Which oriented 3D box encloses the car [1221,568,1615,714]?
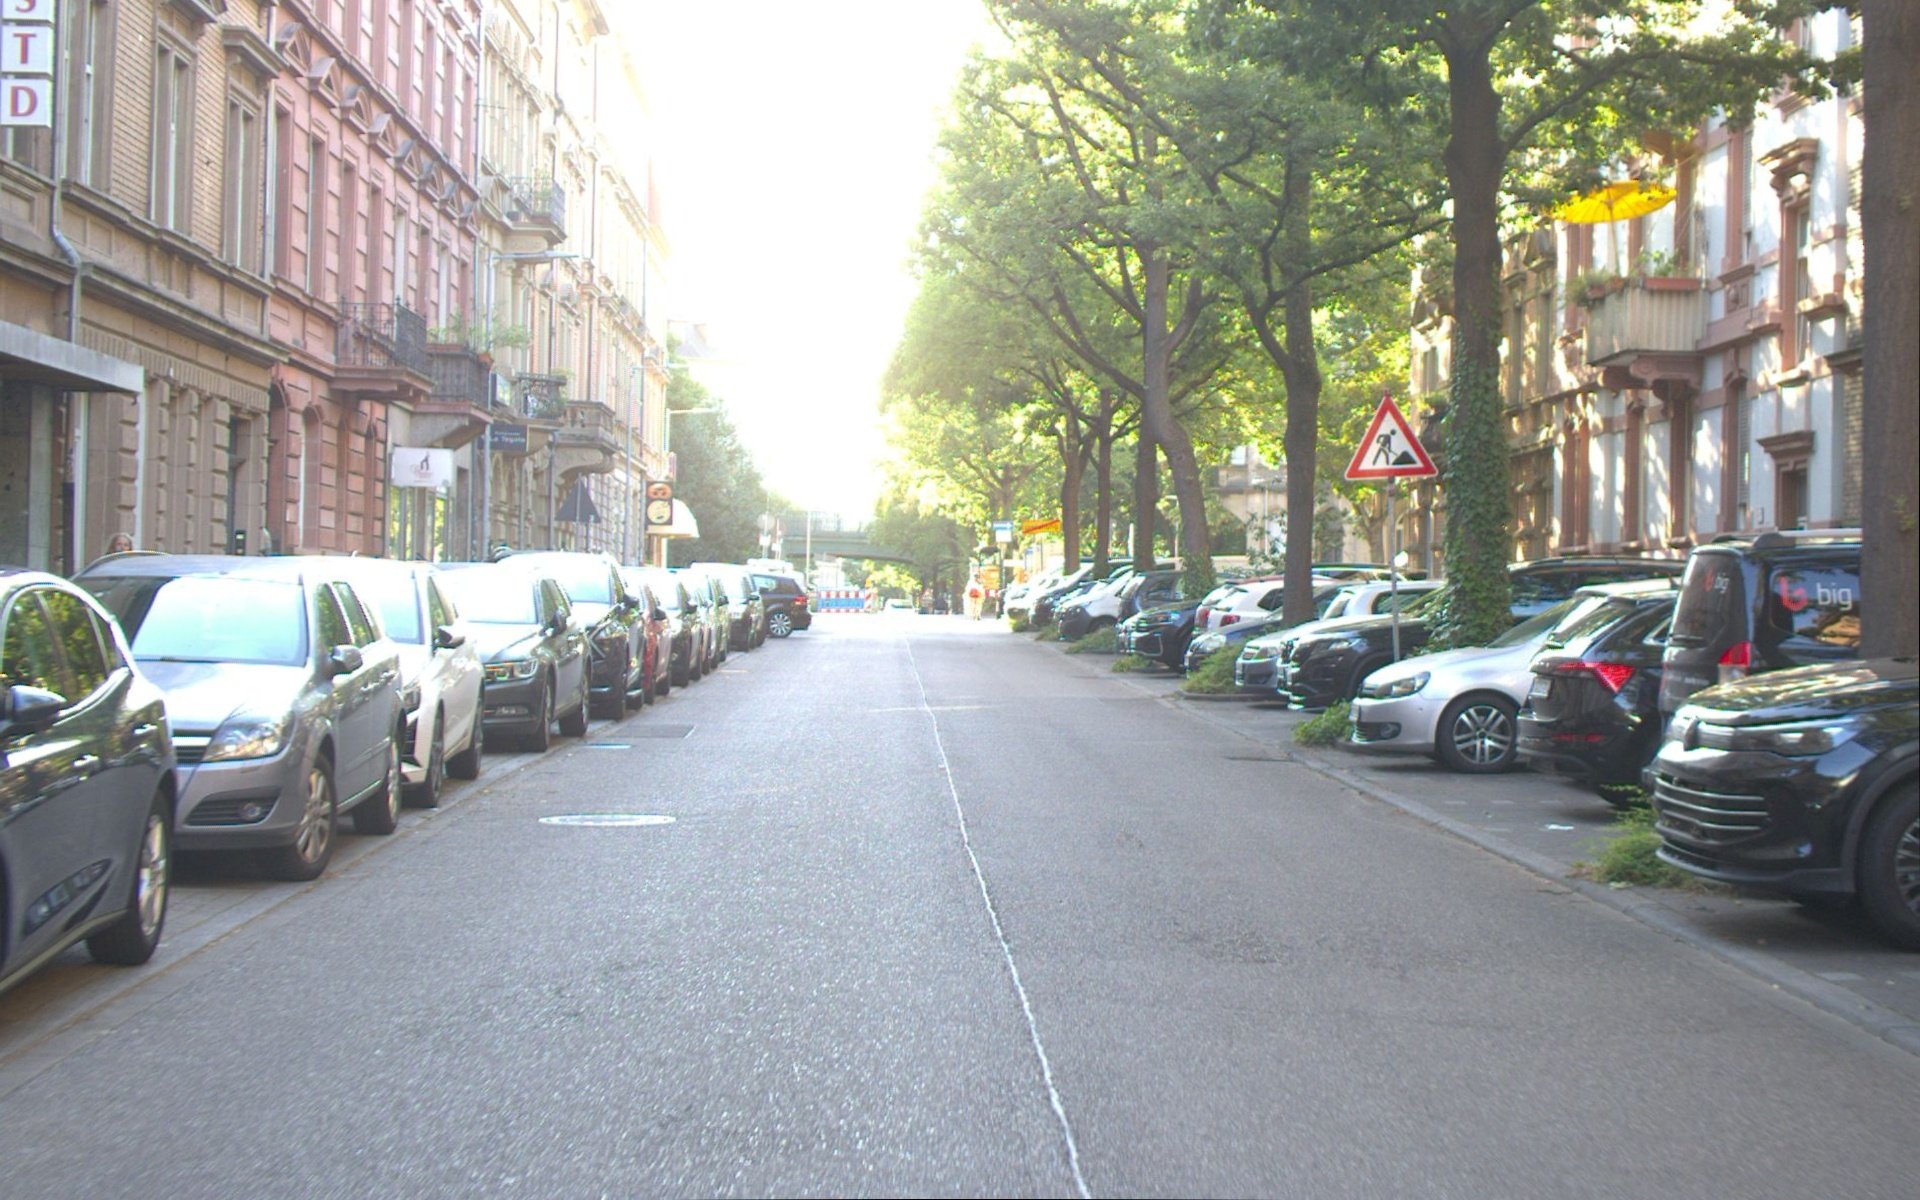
[{"bbox_3d":[5.264,0.457,39.846,4.222,1.531,1.801,2,1,-4],"label":"car"}]

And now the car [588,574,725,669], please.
[{"bbox_3d":[-4.450,0.292,50.909,1.705,1.318,4.101,1,0,-1],"label":"car"}]

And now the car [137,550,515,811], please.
[{"bbox_3d":[-3.917,0.443,21.851,1.756,1.467,4.088,1,1,-2],"label":"car"}]

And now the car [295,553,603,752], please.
[{"bbox_3d":[-4.109,0.378,28.342,1.862,1.467,4.489,1,1,0],"label":"car"}]

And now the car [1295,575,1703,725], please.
[{"bbox_3d":[5.773,0.523,37.186,4.100,1.464,1.801,2,1,0],"label":"car"}]

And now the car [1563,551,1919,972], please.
[{"bbox_3d":[5.283,0.581,14.734,4.919,1.627,2.079,-1,1,-4],"label":"car"}]

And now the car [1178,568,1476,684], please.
[{"bbox_3d":[5.255,0.362,49.536,3.986,1.585,1.783,1,0,-4],"label":"car"}]

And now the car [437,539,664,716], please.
[{"bbox_3d":[-4.091,0.241,34.946,1.821,1.595,4.314,3,0,-1],"label":"car"}]

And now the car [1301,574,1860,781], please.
[{"bbox_3d":[4.745,0.579,26.667,3.987,1.451,1.687,1,0,0],"label":"car"}]

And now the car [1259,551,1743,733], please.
[{"bbox_3d":[5.366,0.428,34.496,4.475,1.650,1.891,2,-1,-2],"label":"car"}]

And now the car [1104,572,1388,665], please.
[{"bbox_3d":[4.950,0.316,59.937,4.658,1.498,1.932,1,0,-4],"label":"car"}]

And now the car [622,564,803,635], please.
[{"bbox_3d":[-5.636,-0.018,78.118,3.986,1.524,1.826,1,0,-7],"label":"car"}]

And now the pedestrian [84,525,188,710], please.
[{"bbox_3d":[-7.413,0.152,30.966,0.695,1.625,1.018,1,0,-2],"label":"pedestrian"}]

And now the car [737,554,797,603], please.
[{"bbox_3d":[-5.959,-0.656,106.358,1.764,1.432,4.301,2,0,-3],"label":"car"}]

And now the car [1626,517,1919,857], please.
[{"bbox_3d":[5.995,0.489,19.254,4.125,1.782,1.945,1,0,1],"label":"car"}]

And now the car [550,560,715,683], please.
[{"bbox_3d":[-4.333,0.251,46.034,1.821,1.472,4.424,3,0,-1],"label":"car"}]

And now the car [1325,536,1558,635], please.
[{"bbox_3d":[13.256,-0.405,94.870,5.893,2.529,2.380,2,0,-7],"label":"car"}]

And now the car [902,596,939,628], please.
[{"bbox_3d":[-1.977,0.608,171.606,1.749,1.504,4.000,1,0,-1],"label":"car"}]

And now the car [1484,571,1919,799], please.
[{"bbox_3d":[5.891,0.594,24.397,3.986,1.490,1.687,1,0,-4],"label":"car"}]

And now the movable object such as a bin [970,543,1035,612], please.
[{"bbox_3d":[1.752,-0.900,139.656,1.994,2.690,3.108,2,0,12],"label":"movable object such as a bin"}]

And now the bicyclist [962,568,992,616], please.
[{"bbox_3d":[0.501,-0.228,102.000,0.803,1.379,0.985,3,0,-2],"label":"bicyclist"}]

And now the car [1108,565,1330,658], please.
[{"bbox_3d":[4.841,0.201,64.606,3.883,1.643,1.725,1,0,-6],"label":"car"}]

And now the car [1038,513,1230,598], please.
[{"bbox_3d":[4.369,-1.110,86.719,4.614,2.007,2.000,1,0,-3],"label":"car"}]

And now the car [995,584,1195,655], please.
[{"bbox_3d":[2.842,0.394,72.844,3.986,1.470,1.782,0,0,-8],"label":"car"}]

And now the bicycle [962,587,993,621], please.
[{"bbox_3d":[0.506,0.118,102.025,0.803,0.965,2.108,3,0,-2],"label":"bicycle"}]

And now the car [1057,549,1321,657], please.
[{"bbox_3d":[4.570,0.074,69.148,5.091,1.933,2.158,1,-3,-1],"label":"car"}]

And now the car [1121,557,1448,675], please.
[{"bbox_3d":[4.852,0.225,51.834,4.644,1.697,1.882,0,1,-4],"label":"car"}]

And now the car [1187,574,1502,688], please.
[{"bbox_3d":[5.211,0.416,46.939,3.986,1.457,1.783,1,0,-4],"label":"car"}]

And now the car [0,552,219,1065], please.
[{"bbox_3d":[-3.659,0.573,11.024,1.746,1.468,4.245,1,1,-2],"label":"car"}]

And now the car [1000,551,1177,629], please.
[{"bbox_3d":[3.686,-0.294,99.492,4.973,2.089,2.106,1,0,-1],"label":"car"}]

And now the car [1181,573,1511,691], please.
[{"bbox_3d":[4.926,0.395,44.223,3.986,1.383,1.678,-1,0,-2],"label":"car"}]

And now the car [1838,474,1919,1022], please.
[{"bbox_3d":[5.783,0.460,11.739,4.919,1.895,2.176,-1,1,-4],"label":"car"}]

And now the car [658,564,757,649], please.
[{"bbox_3d":[-4.573,0.097,62.631,1.582,1.468,4.000,1,0,-2],"label":"car"}]

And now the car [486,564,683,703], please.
[{"bbox_3d":[-4.251,0.339,39.488,1.821,1.421,4.314,3,0,-1],"label":"car"}]

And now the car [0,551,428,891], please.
[{"bbox_3d":[-3.877,0.500,17.213,1.886,1.439,4.543,2,0,-3],"label":"car"}]

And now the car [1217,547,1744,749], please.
[{"bbox_3d":[4.653,0.437,31.205,4.476,1.650,1.891,2,-1,1],"label":"car"}]

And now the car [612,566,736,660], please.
[{"bbox_3d":[-4.590,0.187,55.587,1.705,1.434,3.959,1,0,-1],"label":"car"}]

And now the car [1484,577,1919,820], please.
[{"bbox_3d":[5.584,0.585,21.904,4.144,1.450,1.937,0,1,-2],"label":"car"}]
